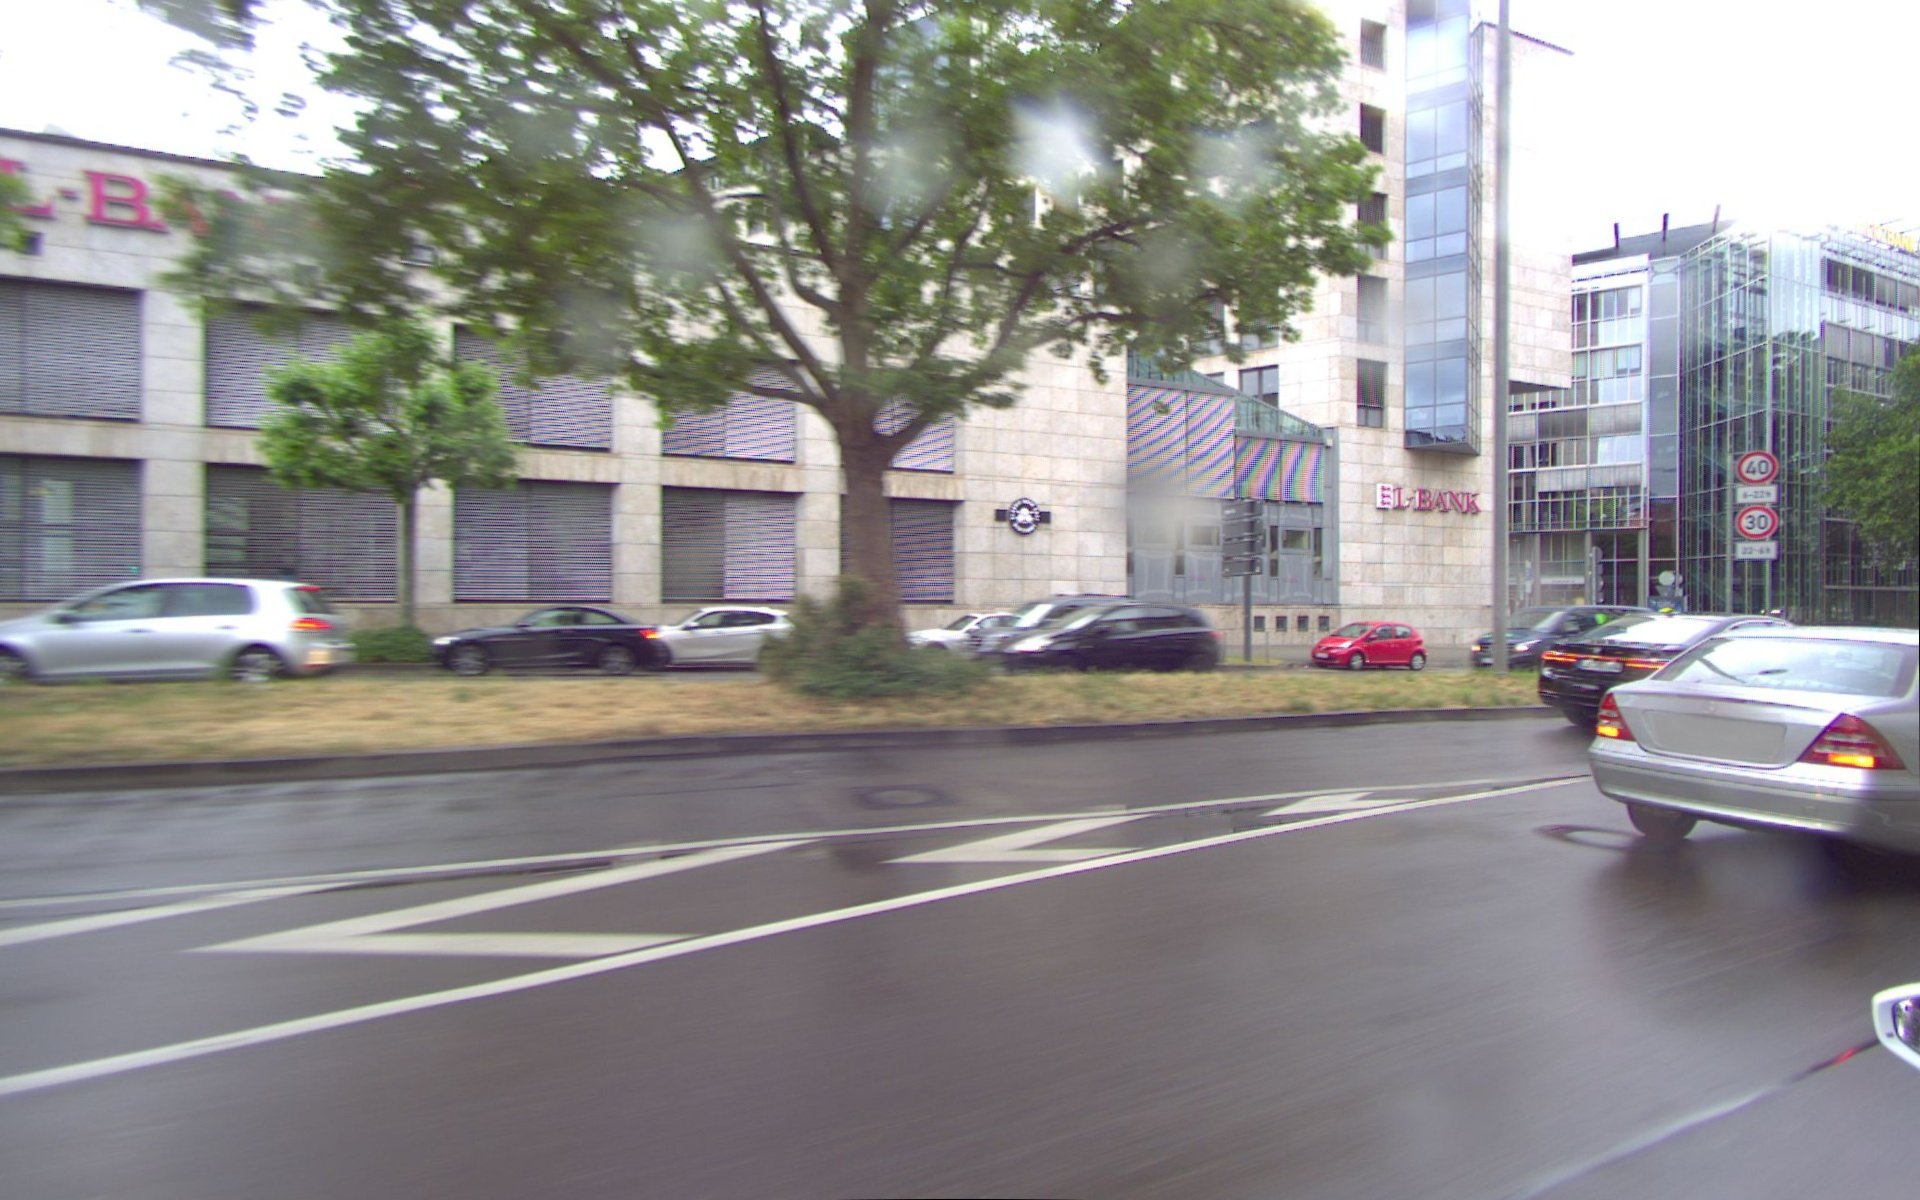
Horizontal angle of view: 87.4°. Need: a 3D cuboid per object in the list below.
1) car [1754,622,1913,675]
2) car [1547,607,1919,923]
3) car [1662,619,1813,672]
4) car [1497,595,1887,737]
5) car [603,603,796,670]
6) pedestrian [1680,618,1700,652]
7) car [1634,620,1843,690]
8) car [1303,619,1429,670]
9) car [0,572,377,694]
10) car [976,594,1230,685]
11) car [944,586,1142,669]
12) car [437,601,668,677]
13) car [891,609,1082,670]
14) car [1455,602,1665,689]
[{"bbox_3d":[25.972,1.442,29.870,4.330,1.451,1.724,2,-1,-21],"label":"car"},{"bbox_3d":[6.024,0.843,6.629,4.305,1.499,1.666,1,1,-27],"label":"car"},{"bbox_3d":[25.192,1.468,32.538,4.570,1.552,1.724,2,-1,-21],"label":"car"},{"bbox_3d":[9.346,0.743,12.792,4.810,1.498,1.868,-1,-1,-24],"label":"car"},{"bbox_3d":[-6.124,0.854,23.674,4.226,1.434,1.746,2,-1,-19],"label":"car"},{"bbox_3d":[35.137,1.690,48.346,0.660,1.591,0.816,1,1,44],"label":"pedestrian"},{"bbox_3d":[17.857,1.256,23.053,4.249,1.461,1.857,2,-1,-21],"label":"car"},{"bbox_3d":[12.366,1.354,30.595,3.349,1.434,1.590,2,-1,-19],"label":"car"},{"bbox_3d":[-9.935,0.429,12.750,4.067,1.382,1.746,2,-1,-19],"label":"car"},{"bbox_3d":[2.405,0.670,17.055,3.882,1.382,1.746,2,-1,-19],"label":"car"},{"bbox_3d":[1.857,0.626,22.148,4.046,1.661,1.821,2,-1,-32],"label":"car"},{"bbox_3d":[-8.089,0.788,20.290,4.109,1.382,1.746,2,-1,-19],"label":"car"},{"bbox_3d":[0.691,1.018,26.079,4.633,1.434,1.745,2,-1,-20],"label":"car"},{"bbox_3d":[15.162,1.156,25.388,5.028,2.028,1.828,2,-1,-21],"label":"car"}]
